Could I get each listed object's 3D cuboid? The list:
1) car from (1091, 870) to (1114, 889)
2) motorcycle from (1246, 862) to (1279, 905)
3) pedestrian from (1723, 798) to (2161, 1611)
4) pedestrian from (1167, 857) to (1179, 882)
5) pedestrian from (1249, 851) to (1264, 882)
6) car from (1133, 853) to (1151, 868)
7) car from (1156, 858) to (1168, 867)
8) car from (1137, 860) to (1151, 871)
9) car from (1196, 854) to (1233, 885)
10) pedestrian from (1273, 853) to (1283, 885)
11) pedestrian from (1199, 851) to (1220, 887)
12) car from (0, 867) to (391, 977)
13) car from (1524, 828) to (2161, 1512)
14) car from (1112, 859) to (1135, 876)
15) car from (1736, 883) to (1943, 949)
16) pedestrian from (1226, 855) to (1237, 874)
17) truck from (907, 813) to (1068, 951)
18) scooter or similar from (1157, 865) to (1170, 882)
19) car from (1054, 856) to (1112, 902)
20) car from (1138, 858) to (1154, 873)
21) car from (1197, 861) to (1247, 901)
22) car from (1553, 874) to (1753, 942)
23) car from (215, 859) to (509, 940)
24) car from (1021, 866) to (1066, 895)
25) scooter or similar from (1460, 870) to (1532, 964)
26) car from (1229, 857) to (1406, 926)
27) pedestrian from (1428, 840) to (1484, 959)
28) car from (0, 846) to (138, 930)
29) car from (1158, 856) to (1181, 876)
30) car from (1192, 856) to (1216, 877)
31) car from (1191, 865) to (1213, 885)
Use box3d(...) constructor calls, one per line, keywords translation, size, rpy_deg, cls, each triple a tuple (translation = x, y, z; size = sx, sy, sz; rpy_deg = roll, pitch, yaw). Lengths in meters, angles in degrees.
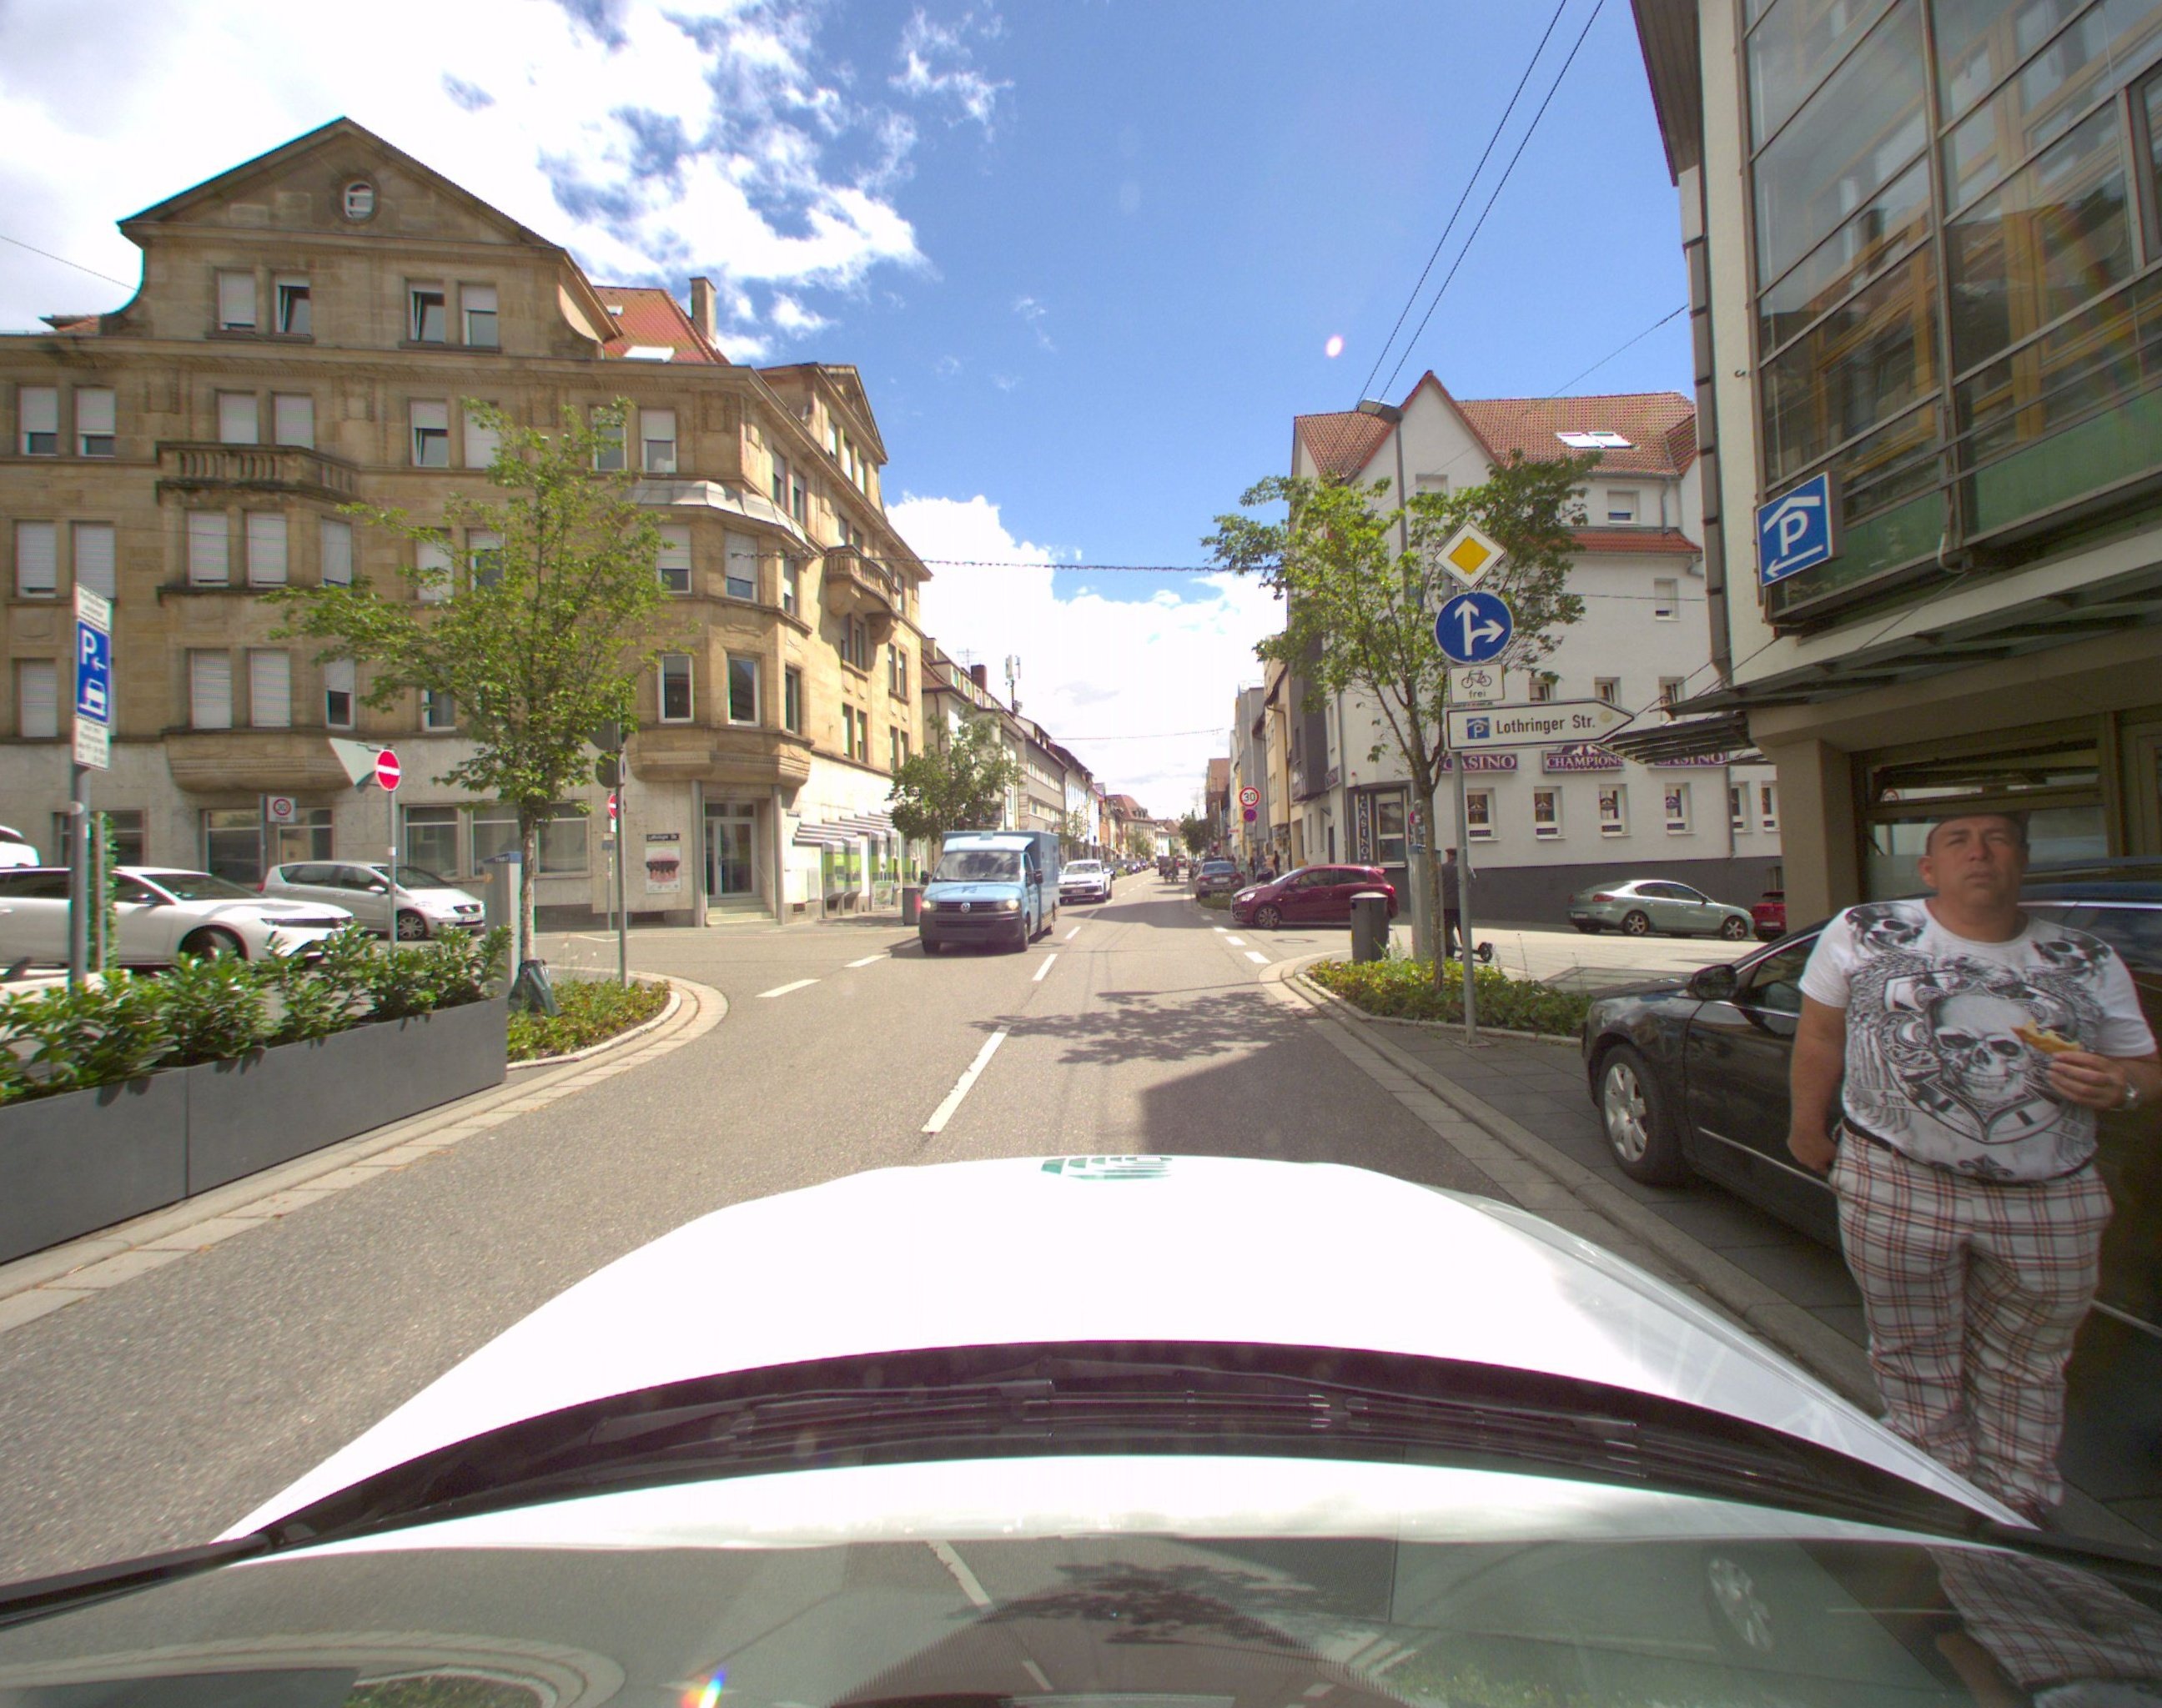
box3d(translation=(1.877, 2.143, 69.915), size=(1.782, 1.503, 4.183), rpy_deg=(0, -1, 4), cls="car")
box3d(translation=(5.662, 0.904, 25.494), size=(0.656, 1.260, 2.378), rpy_deg=(0, -1, 4), cls="motorcycle")
box3d(translation=(2.018, 0.698, 1.971), size=(0.578, 1.600, 0.551), rpy_deg=(-1, -2, 24), cls="pedestrian")
box3d(translation=(6.002, 0.987, 53.325), size=(0.728, 1.618, 0.652), rpy_deg=(0, -2, 3), cls="pedestrian")
box3d(translation=(9.942, 0.703, 46.170), size=(0.740, 1.718, 0.657), rpy_deg=(-2, -2, 6), cls="pedestrian")
box3d(translation=(7.535, 0.822, 100.246), size=(1.805, 1.755, 4.475), rpy_deg=(-1, -1, 9), cls="car")
box3d(translation=(14.390, 1.522, 144.156), size=(1.894, 1.563, 4.655), rpy_deg=(-1, -1, 8), cls="car")
box3d(translation=(9.348, 1.738, 120.332), size=(1.789, 1.598, 4.398), rpy_deg=(-1, -1, 8), cls="car")
box3d(translation=(7.553, 0.874, 46.481), size=(1.790, 1.603, 4.211), rpy_deg=(-4, -1, 6), cls="car")
box3d(translation=(10.534, 0.805, 43.564), size=(0.433, 1.718, 0.538), rpy_deg=(0, -2, 5), cls="pedestrian")
box3d(translation=(6.895, 0.797, 43.718), size=(0.970, 1.864, 0.866), rpy_deg=(-4, -2, 6), cls="pedestrian")
box3d(translation=(-12.864, 0.887, 11.422), size=(4.374, 1.381, 1.993), rpy_deg=(1, -1, -10), cls="car")
box3d(translation=(3.172, 0.653, 2.227), size=(1.707, 1.454, 4.557), rpy_deg=(-2, -1, 5), cls="car")
box3d(translation=(4.551, 1.430, 86.797), size=(1.805, 1.755, 4.682), rpy_deg=(-1, -1, 10), cls="car")
box3d(translation=(19.648, 1.591, 21.191), size=(3.818, 1.399, 1.846), rpy_deg=(4, -2, -5), cls="car")
box3d(translation=(12.674, 0.883, 68.595), size=(0.746, 1.553, 0.727), rpy_deg=(-2, -2, 7), cls="pedestrian")
box3d(translation=(-1.645, 0.550, 16.973), size=(2.097, 2.305, 6.483), rpy_deg=(0, -1, 5), cls="truck")
box3d(translation=(5.389, 1.293, 53.341), size=(0.778, 1.126, 0.630), rpy_deg=(0, -2, 3), cls="scooter or similar")
box3d(translation=(0.145, 0.953, 31.638), size=(1.778, 1.640, 4.123), rpy_deg=(-1, -1, 7), cls="car")
box3d(translation=(8.683, 1.575, 108.023), size=(1.806, 1.889, 4.852), rpy_deg=(-1, -1, 8), cls="car")
box3d(translation=(5.337, 0.998, 30.771), size=(1.696, 1.420, 4.330), rpy_deg=(-1, -1, 10), cls="car")
box3d(translation=(14.421, 1.337, 20.658), size=(3.871, 1.399, 1.846), rpy_deg=(4, -2, -5), cls="car")
box3d(translation=(-14.792, 0.918, 16.983), size=(4.194, 1.561, 1.998), rpy_deg=(0, -1, -2), cls="car")
box3d(translation=(-1.855, 1.316, 41.201), size=(1.576, 1.414, 3.677), rpy_deg=(-1, -1, 9), cls="car")
box3d(translation=(5.920, 0.867, 11.684), size=(0.429, 1.280, 1.250), rpy_deg=(0, -2, 3), cls="scooter or similar")
box3d(translation=(5.389, 0.856, 18.913), size=(3.727, 1.530, 1.540), rpy_deg=(0, -2, 6), cls="car")
box3d(translation=(5.498, 0.662, 11.963), size=(0.569, 1.703, 0.481), rpy_deg=(0, -2, 0), cls="pedestrian")
box3d(translation=(-22.095, 0.643, 16.181), size=(4.194, 1.561, 1.998), rpy_deg=(0, -1, -2), cls="car")
box3d(translation=(8.453, 1.204, 77.914), size=(2.030, 1.848, 5.007), rpy_deg=(0, -1, 6), cls="car")
box3d(translation=(9.259, 0.957, 61.444), size=(1.680, 1.574, 3.763), rpy_deg=(-1, -1, 7), cls="car")
box3d(translation=(9.805, 1.656, 66.093), size=(1.680, 1.472, 4.533), rpy_deg=(0, 1, 7), cls="car")
